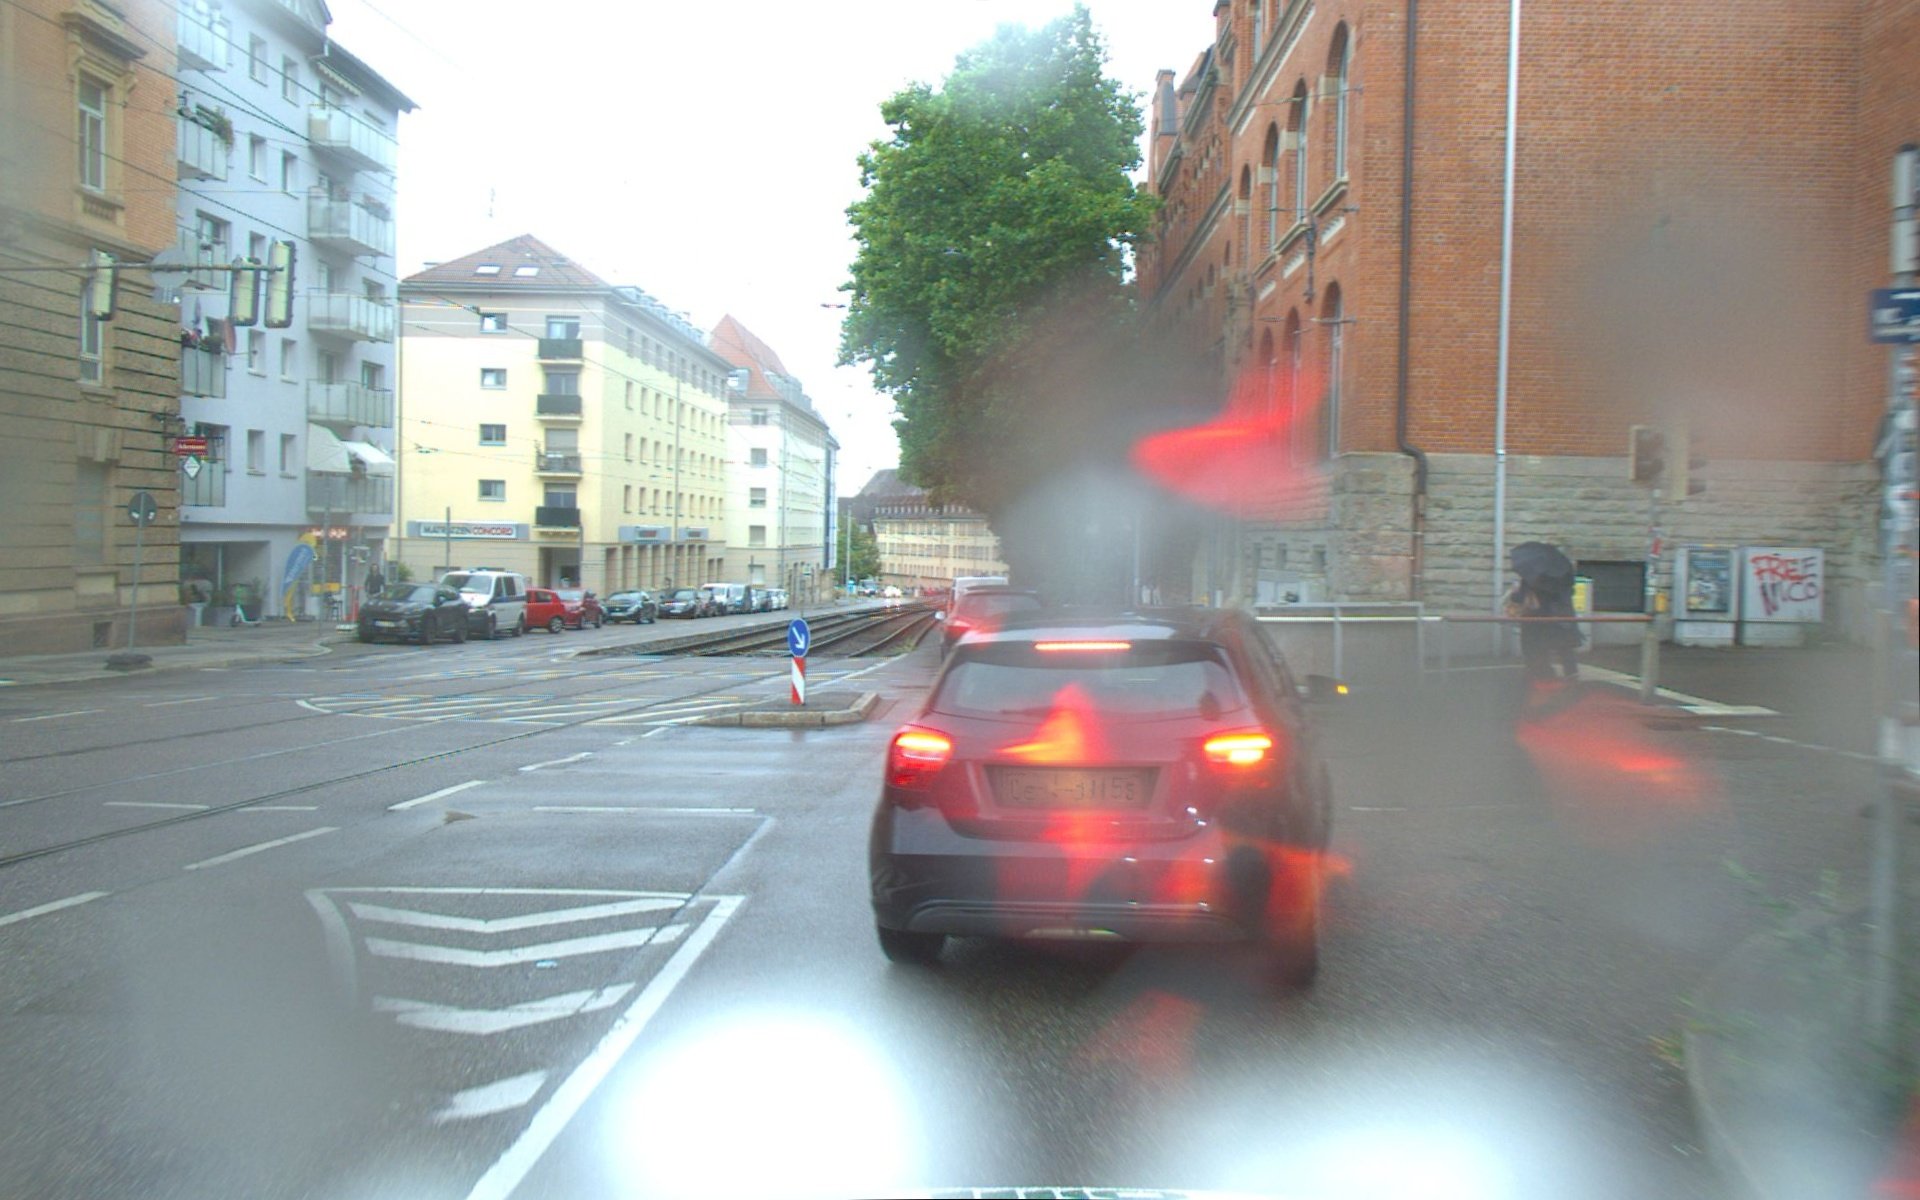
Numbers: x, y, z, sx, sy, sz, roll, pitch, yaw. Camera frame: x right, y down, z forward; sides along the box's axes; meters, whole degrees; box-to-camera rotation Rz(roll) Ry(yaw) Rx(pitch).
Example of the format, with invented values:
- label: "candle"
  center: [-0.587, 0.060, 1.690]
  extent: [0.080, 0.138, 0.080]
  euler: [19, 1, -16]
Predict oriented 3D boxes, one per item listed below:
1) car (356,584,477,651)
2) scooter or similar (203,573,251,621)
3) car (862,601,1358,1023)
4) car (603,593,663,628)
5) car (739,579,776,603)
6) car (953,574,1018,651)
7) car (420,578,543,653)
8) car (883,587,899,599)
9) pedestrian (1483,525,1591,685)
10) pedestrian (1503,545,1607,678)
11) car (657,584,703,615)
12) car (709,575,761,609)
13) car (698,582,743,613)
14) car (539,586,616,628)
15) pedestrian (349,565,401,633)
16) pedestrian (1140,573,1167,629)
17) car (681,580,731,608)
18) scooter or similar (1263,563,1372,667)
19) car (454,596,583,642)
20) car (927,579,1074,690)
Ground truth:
- label: "car"
  center: [-14.338, 0.426, 43.870]
  extent: [1.697, 1.680, 4.364]
  euler: [1, 0, 1]
- label: "scooter or similar"
  center: [-19.881, -0.083, 44.857]
  extent: [1.069, 1.230, 0.316]
  euler: [-3, 1, -10]
- label: "car"
  center: [0.896, 0.736, 7.837]
  extent: [1.756, 1.399, 4.004]
  euler: [0, 1, 11]
- label: "car"
  center: [-13.779, 0.423, 69.870]
  extent: [1.645, 1.420, 4.622]
  euler: [0, 0, 0]
- label: "car"
  center: [-13.547, -0.623, 110.735]
  extent: [1.776, 1.525, 4.583]
  euler: [1, 1, 1]
- label: "car"
  center: [0.677, 0.316, 46.084]
  extent: [1.705, 2.049, 3.903]
  euler: [0, 0, -1]
- label: "car"
  center: [-14.404, 0.413, 50.165]
  extent: [2.027, 2.044, 5.303]
  euler: [3, 1, 1]
- label: "car"
  center: [-9.170, -0.941, 220.071]
  extent: [1.676, 1.488, 4.281]
  euler: [-1, 1, 2]
- label: "pedestrian"
  center: [7.175, 0.054, 20.620]
  extent: [0.938, 1.920, 1.073]
  euler: [-1, 1, 1]
- label: "pedestrian"
  center: [7.695, 0.136, 21.429]
  extent: [0.938, 1.653, 1.073]
  euler: [-1, 0, 1]
- label: "car"
  center: [-14.029, -0.046, 83.160]
  extent: [1.815, 1.534, 4.987]
  euler: [0, 0, -4]
- label: "car"
  center: [-13.702, -0.498, 101.010]
  extent: [1.951, 1.938, 5.463]
  euler: [2, 1, 4]
- label: "car"
  center: [-13.752, -0.152, 95.178]
  extent: [1.828, 1.747, 4.461]
  euler: [0, 0, 1]
- label: "car"
  center: [-14.094, 0.240, 61.092]
  extent: [1.618, 1.477, 4.076]
  euler: [0, 0, 4]
- label: "pedestrian"
  center: [-16.990, -0.037, 48.071]
  extent: [1.149, 1.962, 1.176]
  euler: [0, 0, -7]
- label: "pedestrian"
  center: [5.954, 0.025, 50.940]
  extent: [0.806, 1.708, 0.860]
  euler: [0, 0, 3]
- label: "car"
  center: [-13.602, -0.325, 88.726]
  extent: [1.813, 1.457, 4.832]
  euler: [1, 0, 1]
- label: "scooter or similar"
  center: [4.496, 0.191, 20.784]
  extent: [1.221, 1.272, 0.638]
  euler: [-1, 0, 23]
- label: "car"
  center: [-14.627, 0.616, 54.922]
  extent: [1.749, 1.459, 3.969]
  euler: [1, 0, 35]
- label: "car"
  center: [0.507, 0.463, 24.529]
  extent: [1.894, 1.478, 4.316]
  euler: [1, 0, -2]
